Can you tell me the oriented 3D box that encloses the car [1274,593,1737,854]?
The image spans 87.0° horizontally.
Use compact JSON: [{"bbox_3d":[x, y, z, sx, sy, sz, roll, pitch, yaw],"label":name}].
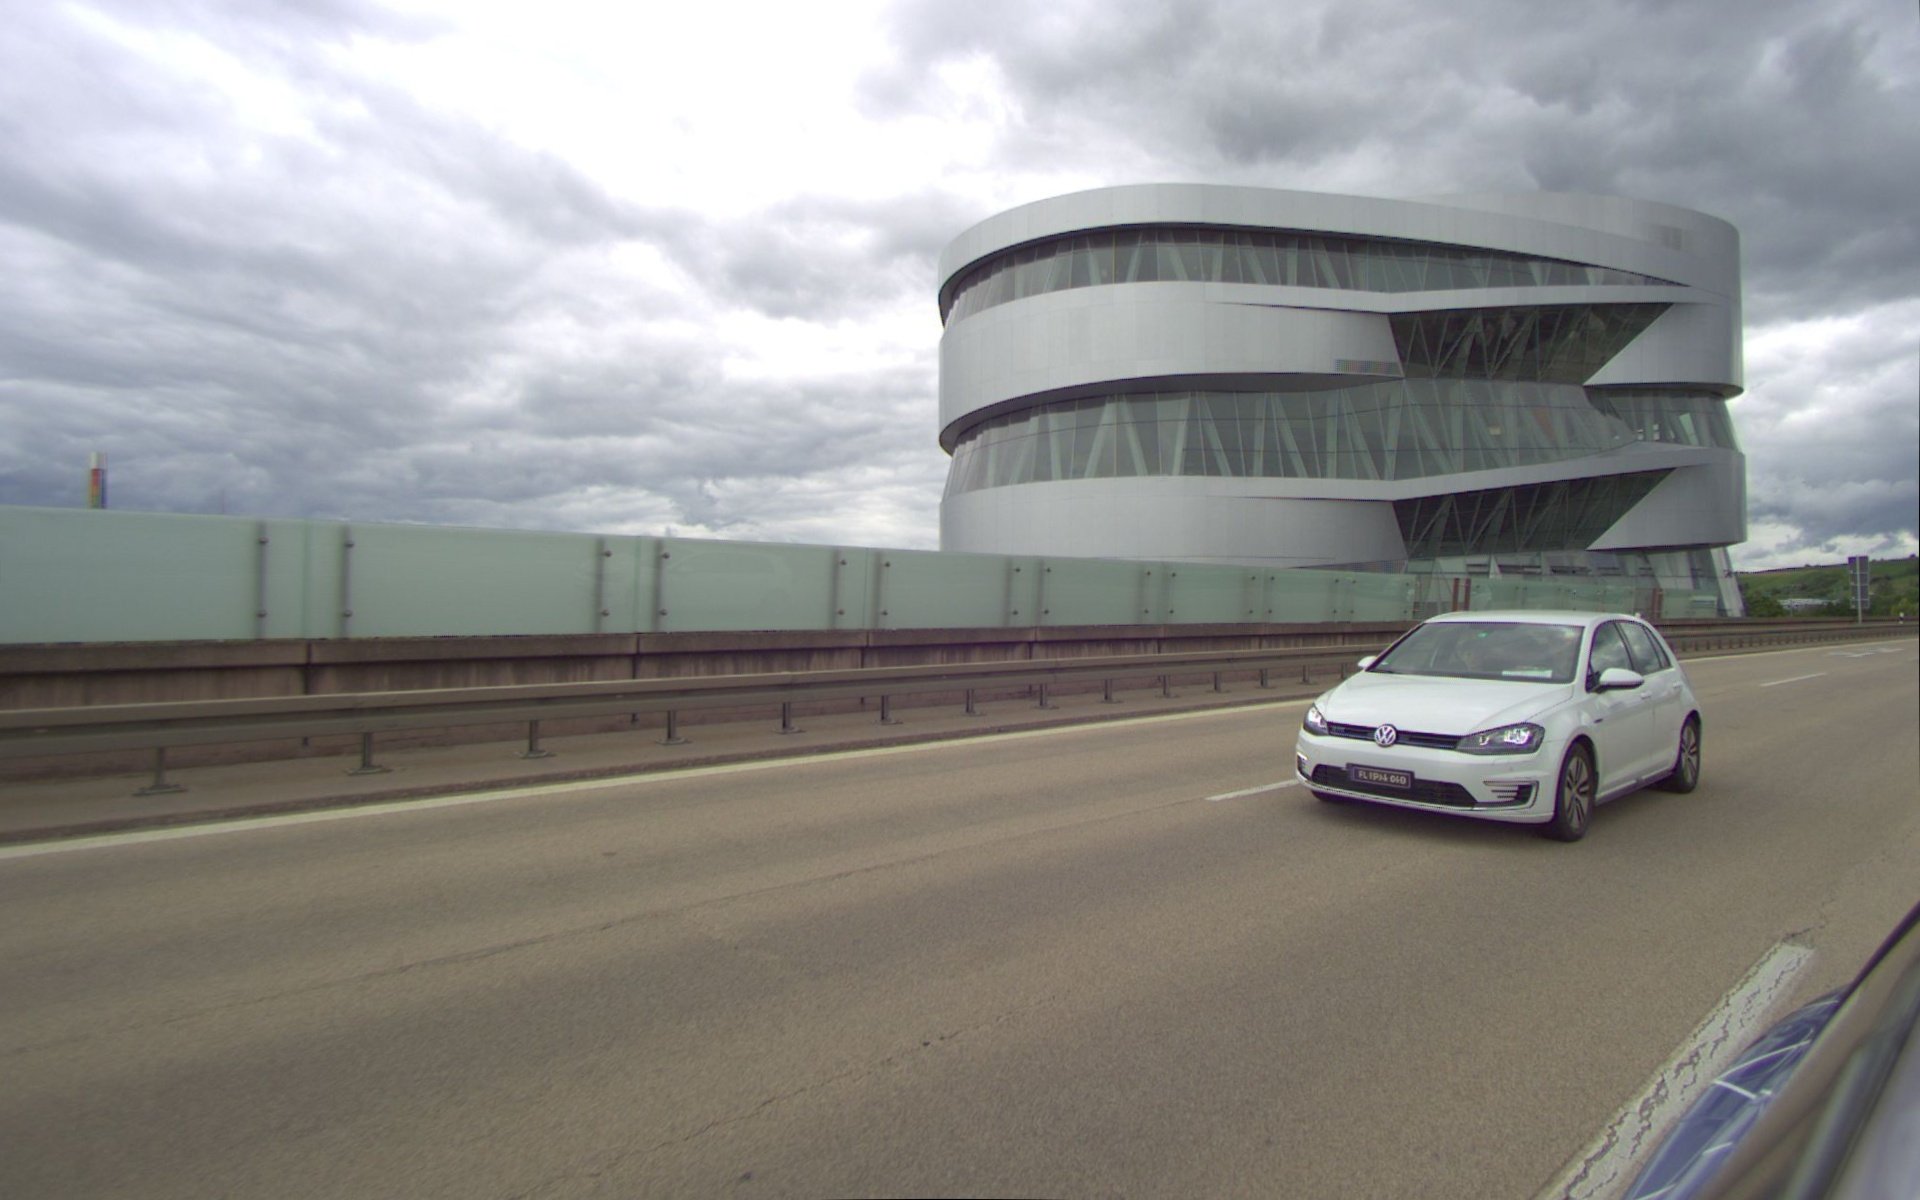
[{"bbox_3d":[4.284,0.699,7.685,4.000,1.470,1.758,0,0,-40],"label":"car"}]
